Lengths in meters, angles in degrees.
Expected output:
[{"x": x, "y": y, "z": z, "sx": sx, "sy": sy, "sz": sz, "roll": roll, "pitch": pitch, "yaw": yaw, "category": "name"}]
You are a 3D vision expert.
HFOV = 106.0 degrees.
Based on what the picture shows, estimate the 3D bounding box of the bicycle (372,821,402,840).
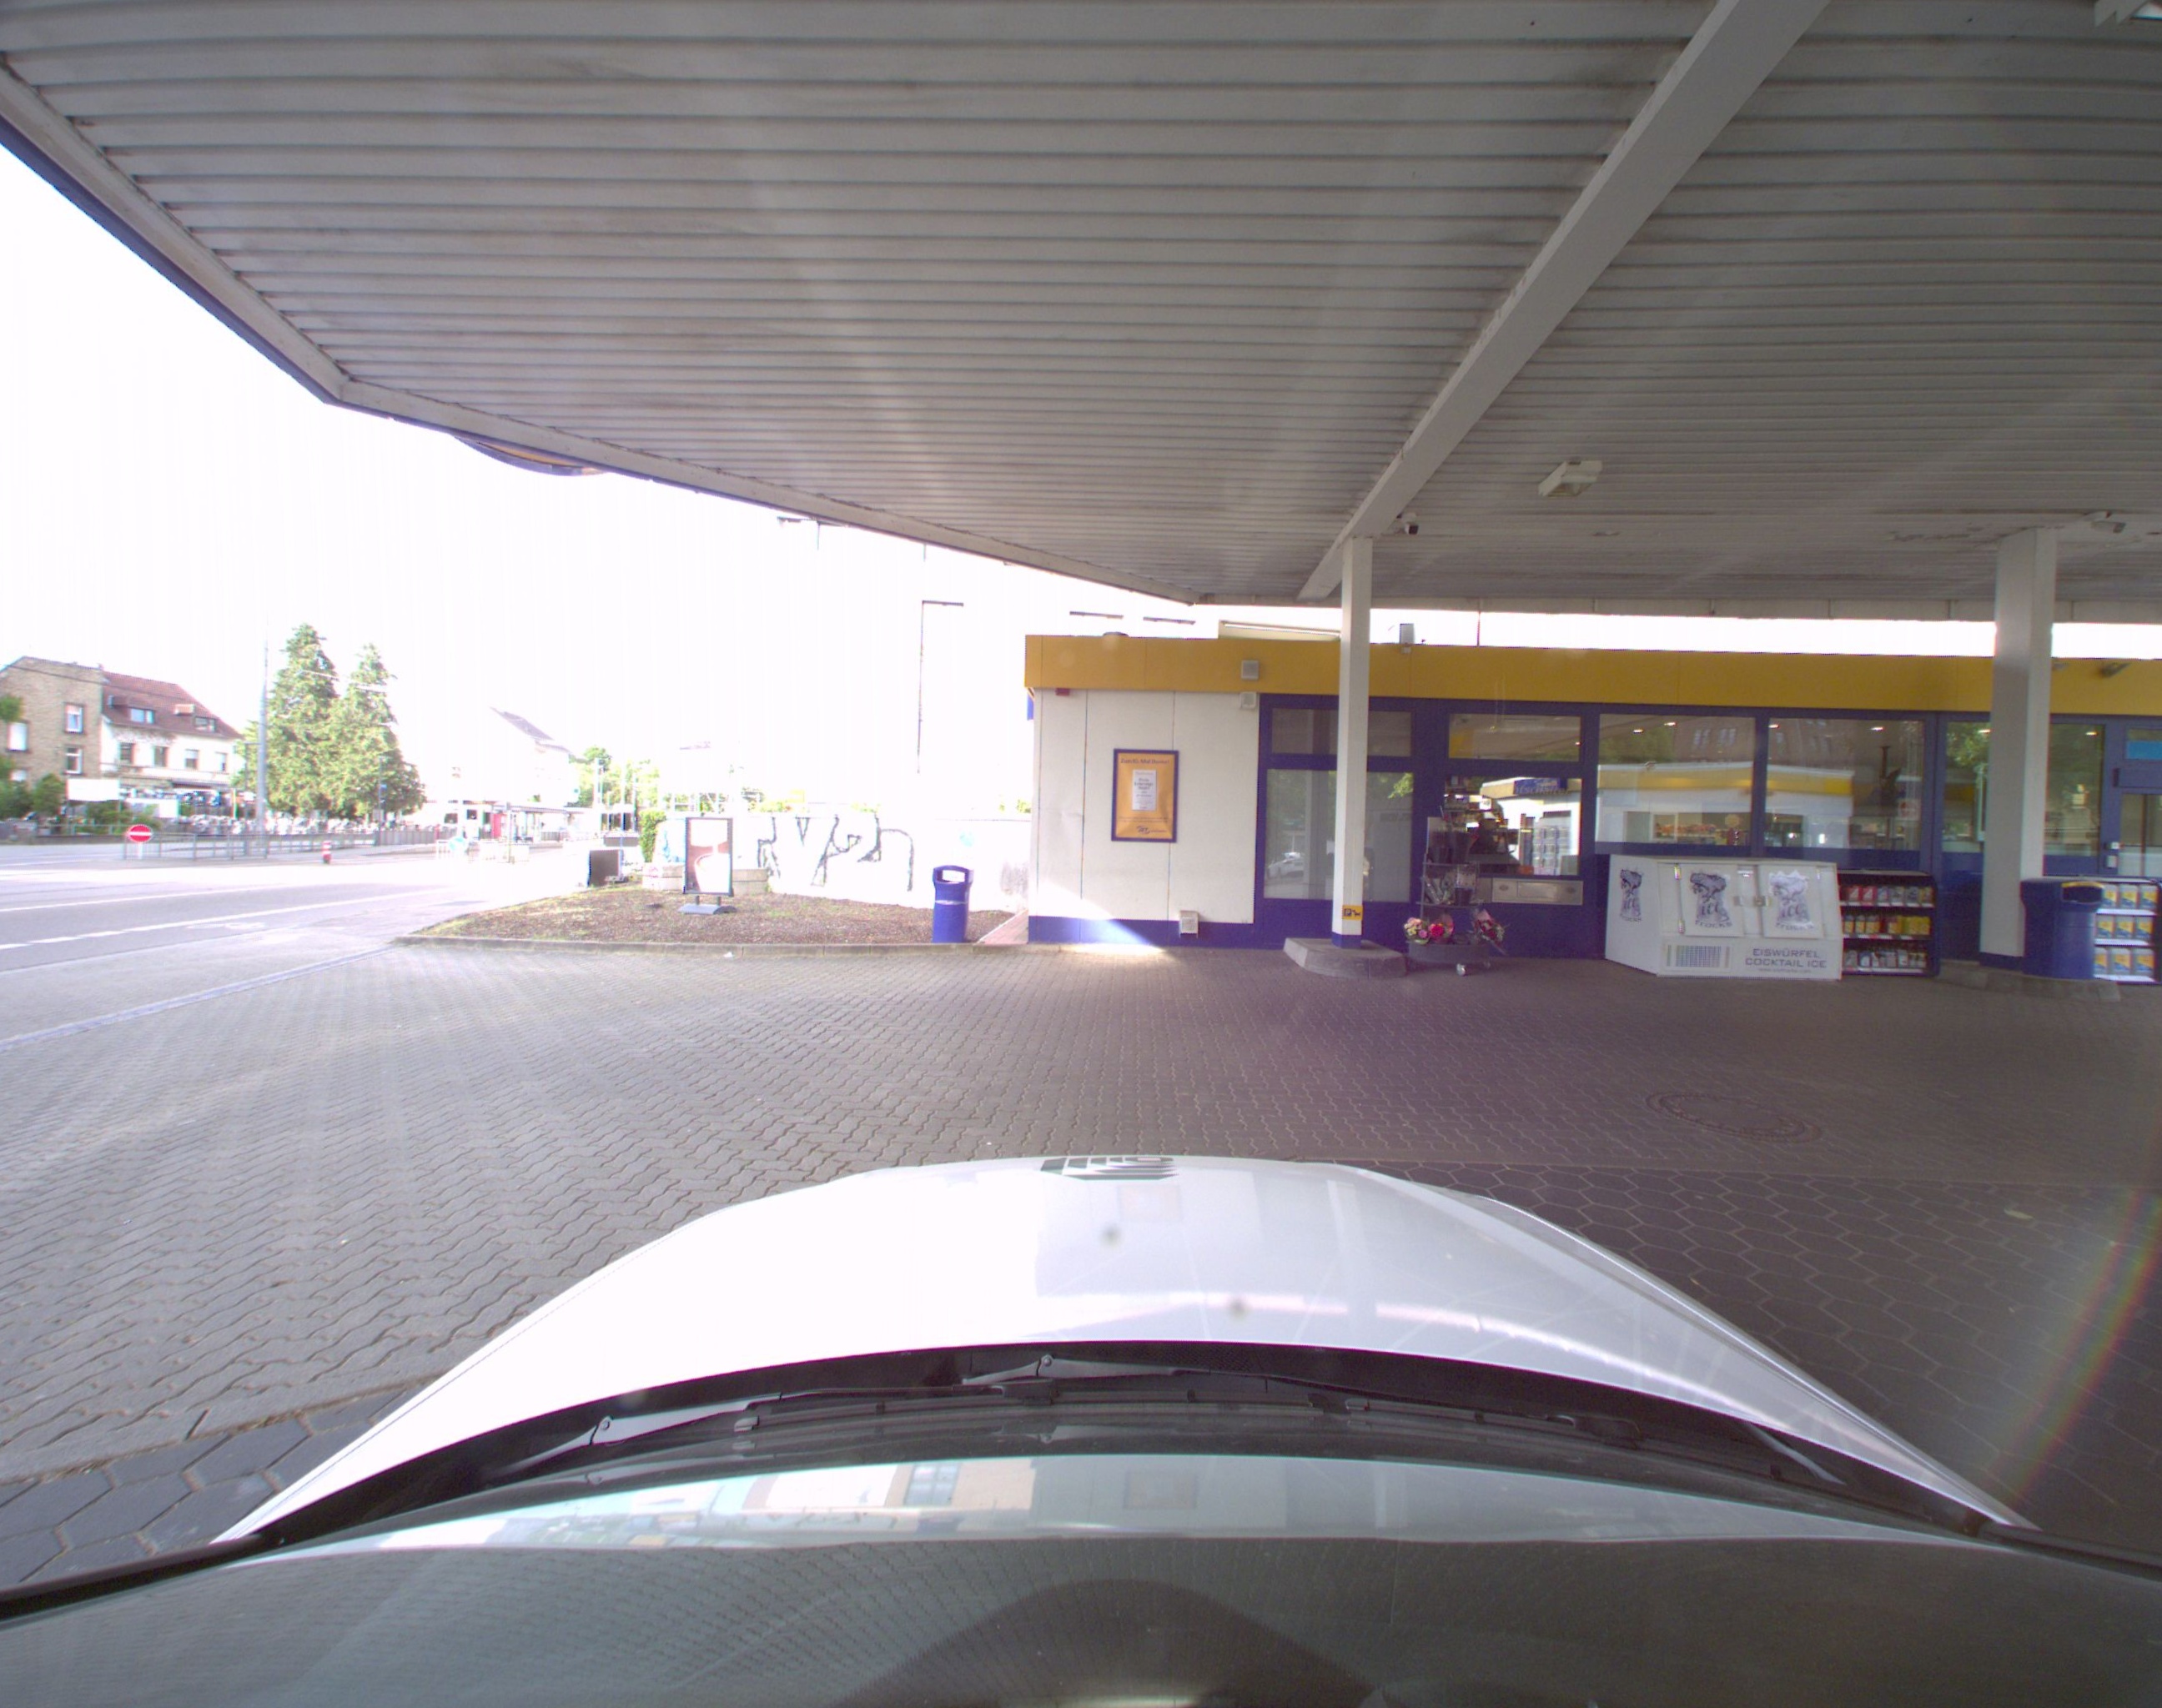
[{"x": -47.697, "y": -1.625, "z": 55.981, "sx": 0.751, "sy": 1.203, "sz": 1.813, "roll": 5, "pitch": 0, "yaw": -14, "category": "bicycle"}]

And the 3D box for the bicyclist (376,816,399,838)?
[{"x": -47.701, "y": -1.868, "z": 56.015, "sx": 0.751, "sy": 1.409, "sz": 0.917, "roll": 5, "pitch": 0, "yaw": -14, "category": "bicyclist"}]
